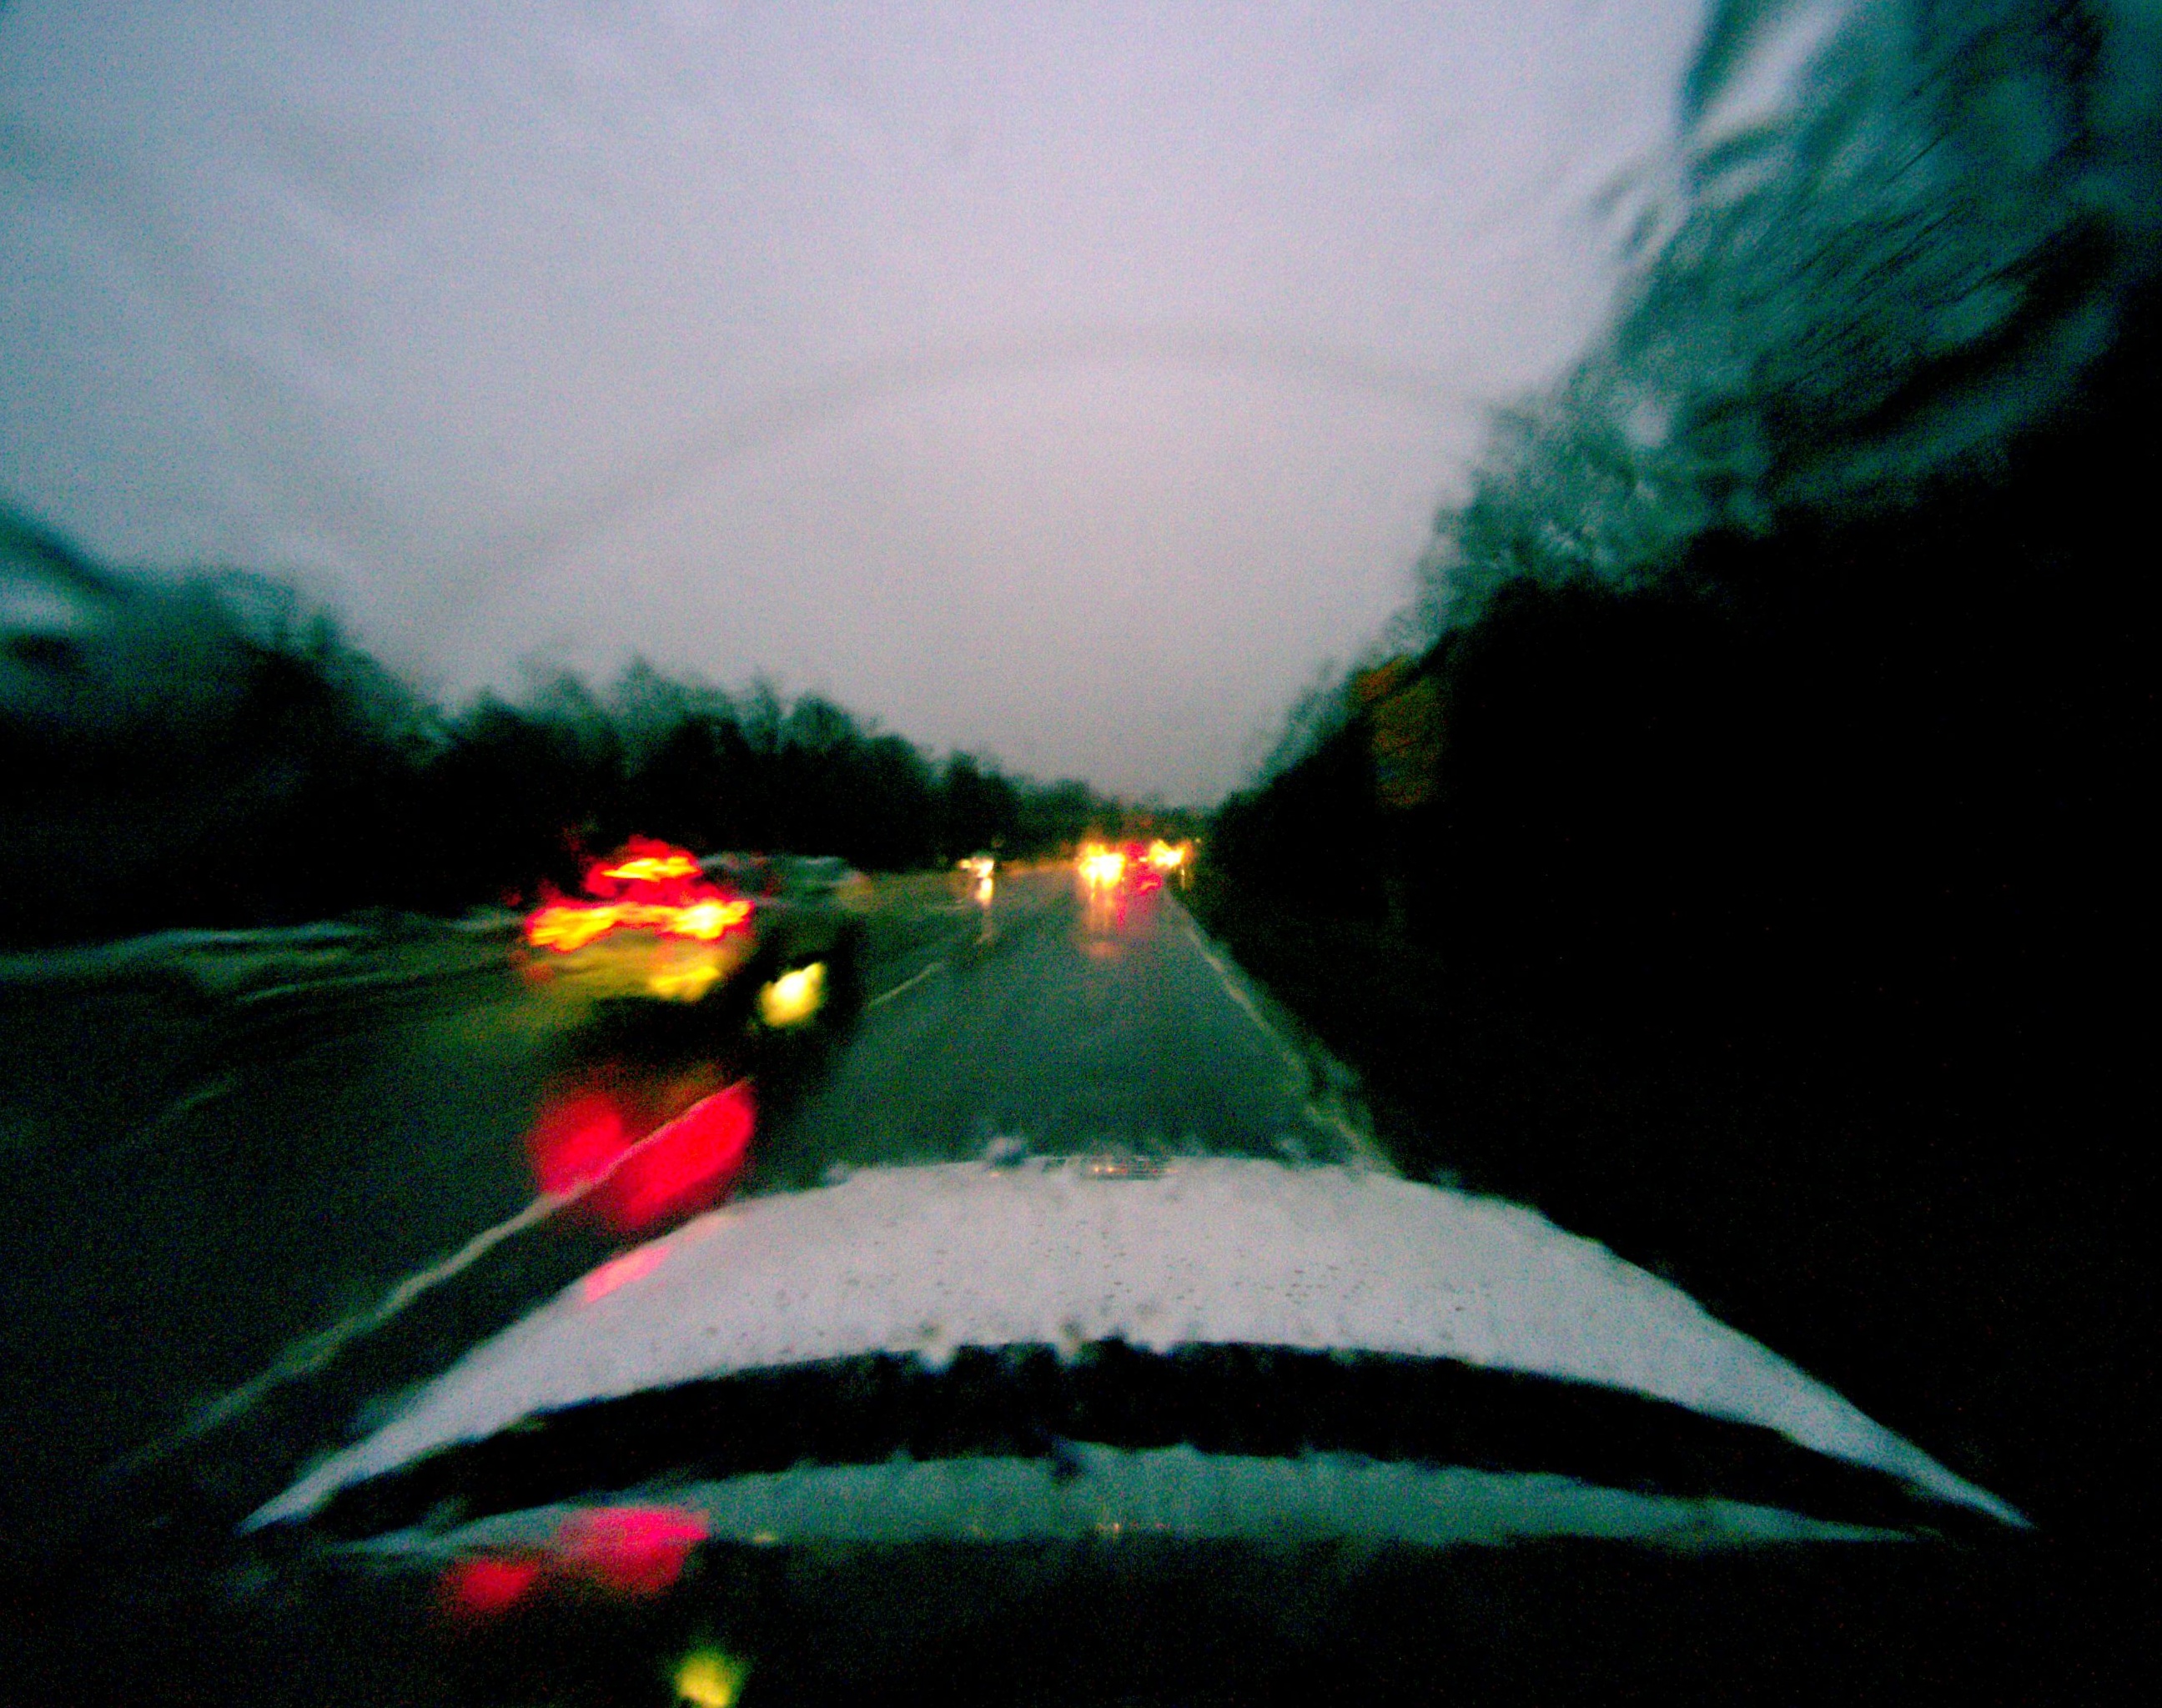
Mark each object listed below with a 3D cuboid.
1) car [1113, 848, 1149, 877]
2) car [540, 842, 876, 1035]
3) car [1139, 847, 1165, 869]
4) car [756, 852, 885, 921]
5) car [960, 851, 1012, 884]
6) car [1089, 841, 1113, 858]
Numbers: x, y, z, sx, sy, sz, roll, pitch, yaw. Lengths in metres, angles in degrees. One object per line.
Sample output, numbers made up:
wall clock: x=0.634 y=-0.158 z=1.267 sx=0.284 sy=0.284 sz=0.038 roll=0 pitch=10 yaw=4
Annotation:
car: x=2.692 y=0.427 z=43.319 sx=1.670 sy=1.389 sz=4.105 roll=-2 pitch=0 yaw=6
car: x=-3.749 y=0.722 z=9.131 sx=1.706 sy=1.627 sz=4.219 roll=-1 pitch=0 yaw=1
car: x=5.902 y=0.287 z=67.166 sx=1.668 sy=1.675 sz=4.110 roll=-2 pitch=0 yaw=11
car: x=-6.854 y=0.791 z=22.000 sx=1.816 sy=1.616 sz=4.576 roll=-1 pitch=0 yaw=2
car: x=-5.847 y=0.792 z=50.624 sx=1.825 sy=1.970 sz=4.374 roll=0 pitch=0 yaw=13
car: x=2.030 y=-0.432 z=81.584 sx=1.812 sy=1.523 sz=4.310 roll=-3 pitch=1 yaw=9
